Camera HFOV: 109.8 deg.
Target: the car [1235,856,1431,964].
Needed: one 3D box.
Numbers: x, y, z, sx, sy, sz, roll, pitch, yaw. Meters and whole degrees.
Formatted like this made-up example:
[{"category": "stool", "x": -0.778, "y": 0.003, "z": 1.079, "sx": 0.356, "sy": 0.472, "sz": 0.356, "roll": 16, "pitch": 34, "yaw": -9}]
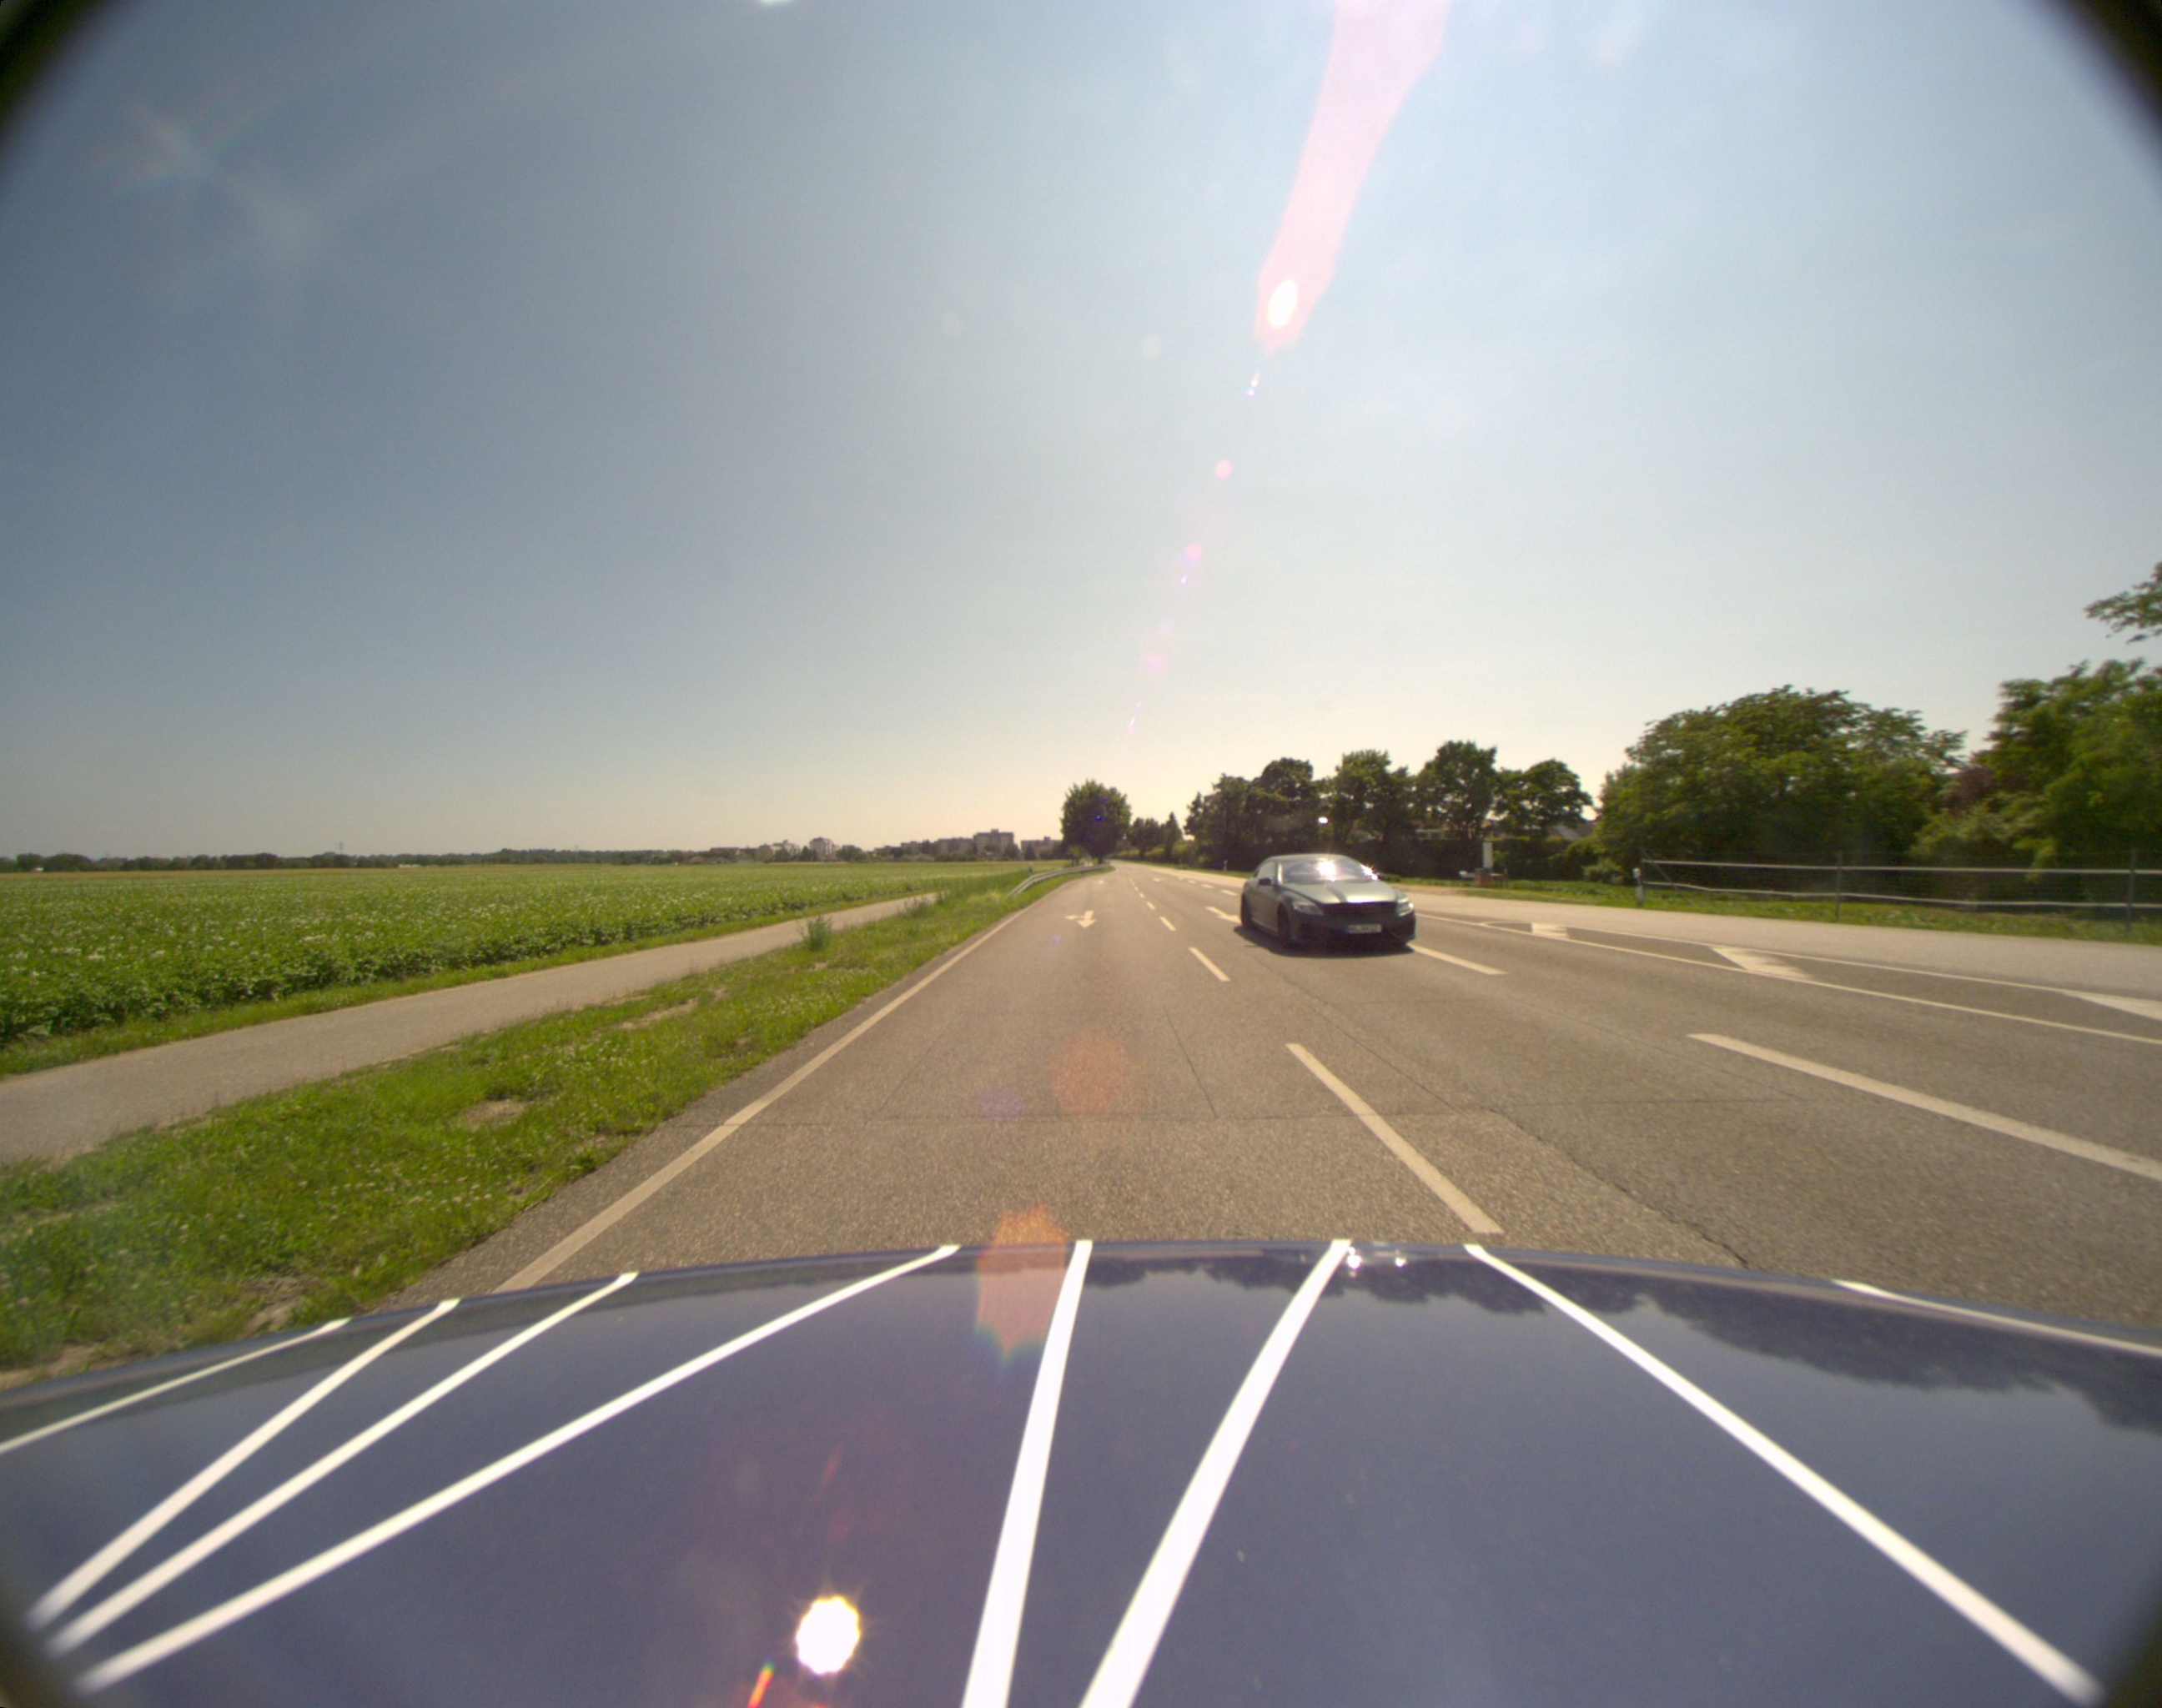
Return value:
[{"category": "car", "x": 4.016, "y": 0.784, "z": 13.071, "sx": 1.815, "sy": 1.441, "sz": 4.877, "roll": -2, "pitch": 0, "yaw": 1}]
